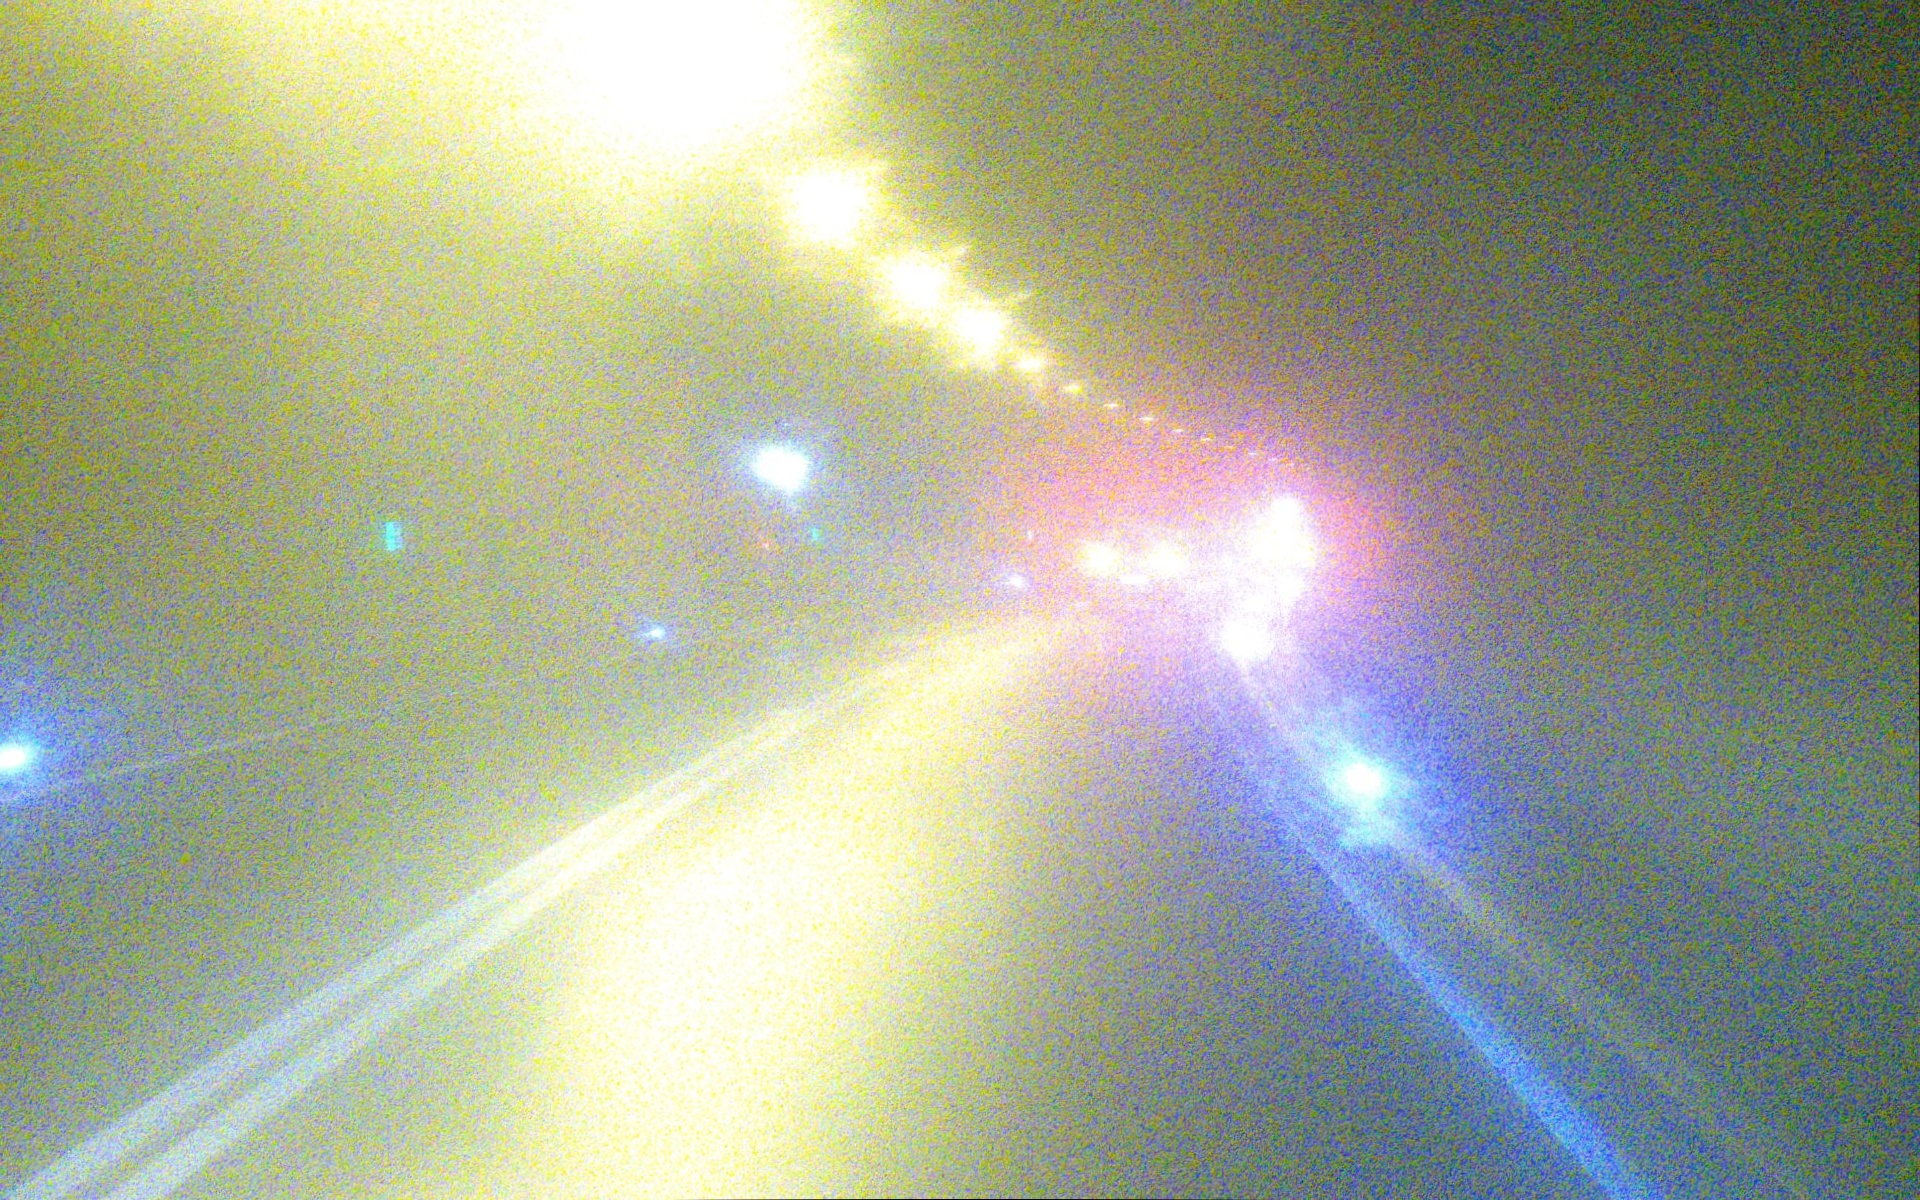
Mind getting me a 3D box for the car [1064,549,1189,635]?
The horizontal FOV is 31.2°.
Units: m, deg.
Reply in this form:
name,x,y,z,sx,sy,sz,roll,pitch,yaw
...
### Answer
name,x,y,z,sx,sy,sz,roll,pitch,yaw
car,3.371,-0.177,68.937,2.090,1.656,3.999,1,1,9
